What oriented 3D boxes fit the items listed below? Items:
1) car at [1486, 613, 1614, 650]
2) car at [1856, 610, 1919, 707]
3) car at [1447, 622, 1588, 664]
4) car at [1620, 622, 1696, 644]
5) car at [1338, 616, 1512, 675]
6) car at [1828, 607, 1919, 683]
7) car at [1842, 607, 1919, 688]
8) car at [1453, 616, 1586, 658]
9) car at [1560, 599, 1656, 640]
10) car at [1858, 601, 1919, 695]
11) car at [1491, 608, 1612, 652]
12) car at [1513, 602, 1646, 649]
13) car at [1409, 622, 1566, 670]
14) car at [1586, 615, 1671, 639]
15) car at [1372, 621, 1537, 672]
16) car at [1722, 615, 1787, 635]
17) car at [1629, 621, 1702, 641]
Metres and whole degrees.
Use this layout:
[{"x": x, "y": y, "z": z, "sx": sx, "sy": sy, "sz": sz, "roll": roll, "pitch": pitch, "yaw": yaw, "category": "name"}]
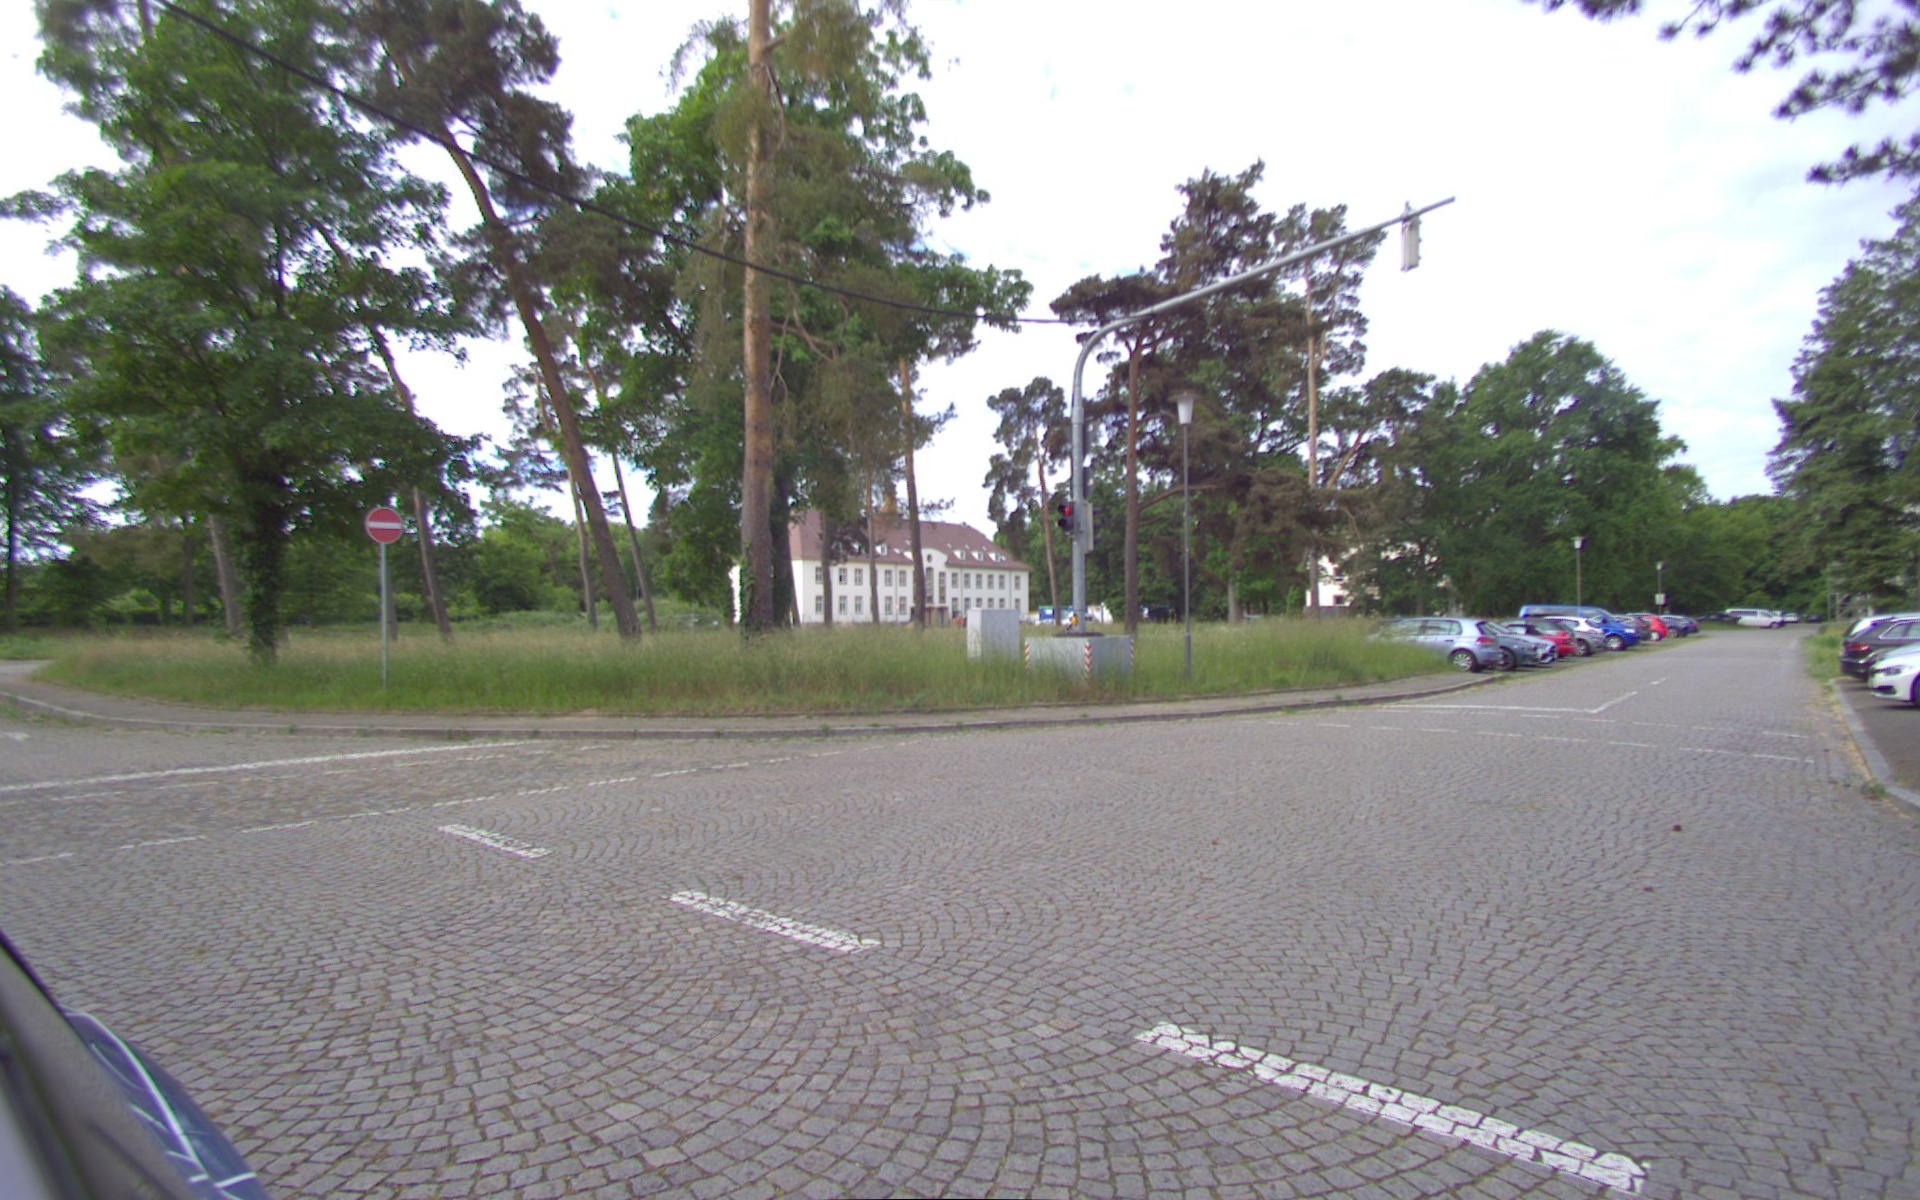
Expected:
[{"x": 22.670, "y": 1.204, "z": 38.935, "sx": 3.998, "sy": 1.364, "sz": 1.667, "roll": -2, "pitch": -2, "yaw": 42, "category": "car"}, {"x": 16.559, "y": 0.794, "z": 14.968, "sx": 4.733, "sy": 1.453, "sz": 1.793, "roll": -4, "pitch": -3, "yaw": 38, "category": "car"}, {"x": 19.169, "y": 1.457, "z": 34.882, "sx": 3.998, "sy": 1.364, "sz": 1.667, "roll": -2, "pitch": -2, "yaw": 42, "category": "car"}, {"x": 46.617, "y": 2.201, "z": 67.604, "sx": 3.998, "sy": 1.364, "sz": 1.667, "roll": -2, "pitch": -2, "yaw": 42, "category": "car"}, {"x": 12.558, "y": 1.202, "z": 27.477, "sx": 3.996, "sy": 1.483, "sz": 1.668, "roll": -2, "pitch": -2, "yaw": 40, "category": "car"}, {"x": 21.239, "y": 0.929, "z": 21.316, "sx": 4.319, "sy": 1.578, "sz": 1.776, "roll": -2, "pitch": -2, "yaw": 37, "category": "car"}, {"x": 19.749, "y": 0.821, "z": 19.201, "sx": 4.319, "sy": 1.513, "sz": 1.837, "roll": -5, "pitch": -3, "yaw": 37, "category": "car"}, {"x": 20.534, "y": 1.328, "z": 37.217, "sx": 3.998, "sy": 1.449, "sz": 1.667, "roll": -2, "pitch": -2, "yaw": 42, "category": "car"}, {"x": 33.374, "y": 1.017, "z": 52.170, "sx": 3.994, "sy": 2.029, "sz": 1.847, "roll": -1, "pitch": -1, "yaw": 37, "category": "car"}, {"x": 18.151, "y": 0.723, "z": 17.024, "sx": 4.319, "sy": 1.596, "sz": 1.804, "roll": -5, "pitch": -3, "yaw": 37, "category": "car"}, {"x": 24.235, "y": 1.259, "z": 41.521, "sx": 3.999, "sy": 1.727, "sz": 1.667, "roll": -3, "pitch": -3, "yaw": 43, "category": "car"}, {"x": 27.714, "y": 1.174, "z": 45.375, "sx": 4.791, "sy": 1.996, "sz": 1.971, "roll": -3, "pitch": -2, "yaw": 41, "category": "car"}, {"x": 16.240, "y": 1.391, "z": 31.248, "sx": 3.998, "sy": 1.364, "sz": 1.667, "roll": -2, "pitch": -2, "yaw": 42, "category": "car"}, {"x": 39.682, "y": 1.622, "z": 60.100, "sx": 3.998, "sy": 1.364, "sz": 1.667, "roll": -2, "pitch": -2, "yaw": 42, "category": "car"}, {"x": 14.275, "y": 1.325, "z": 29.328, "sx": 3.998, "sy": 1.364, "sz": 1.667, "roll": -2, "pitch": -2, "yaw": 42, "category": "car"}, {"x": 82.101, "y": 2.571, "z": 104.619, "sx": 5.159, "sy": 2.029, "sz": 1.973, "roll": -2, "pitch": -2, "yaw": 40, "category": "car"}, {"x": 49.432, "y": 2.153, "z": 70.919, "sx": 3.998, "sy": 1.364, "sz": 1.667, "roll": -2, "pitch": -2, "yaw": 42, "category": "car"}]
